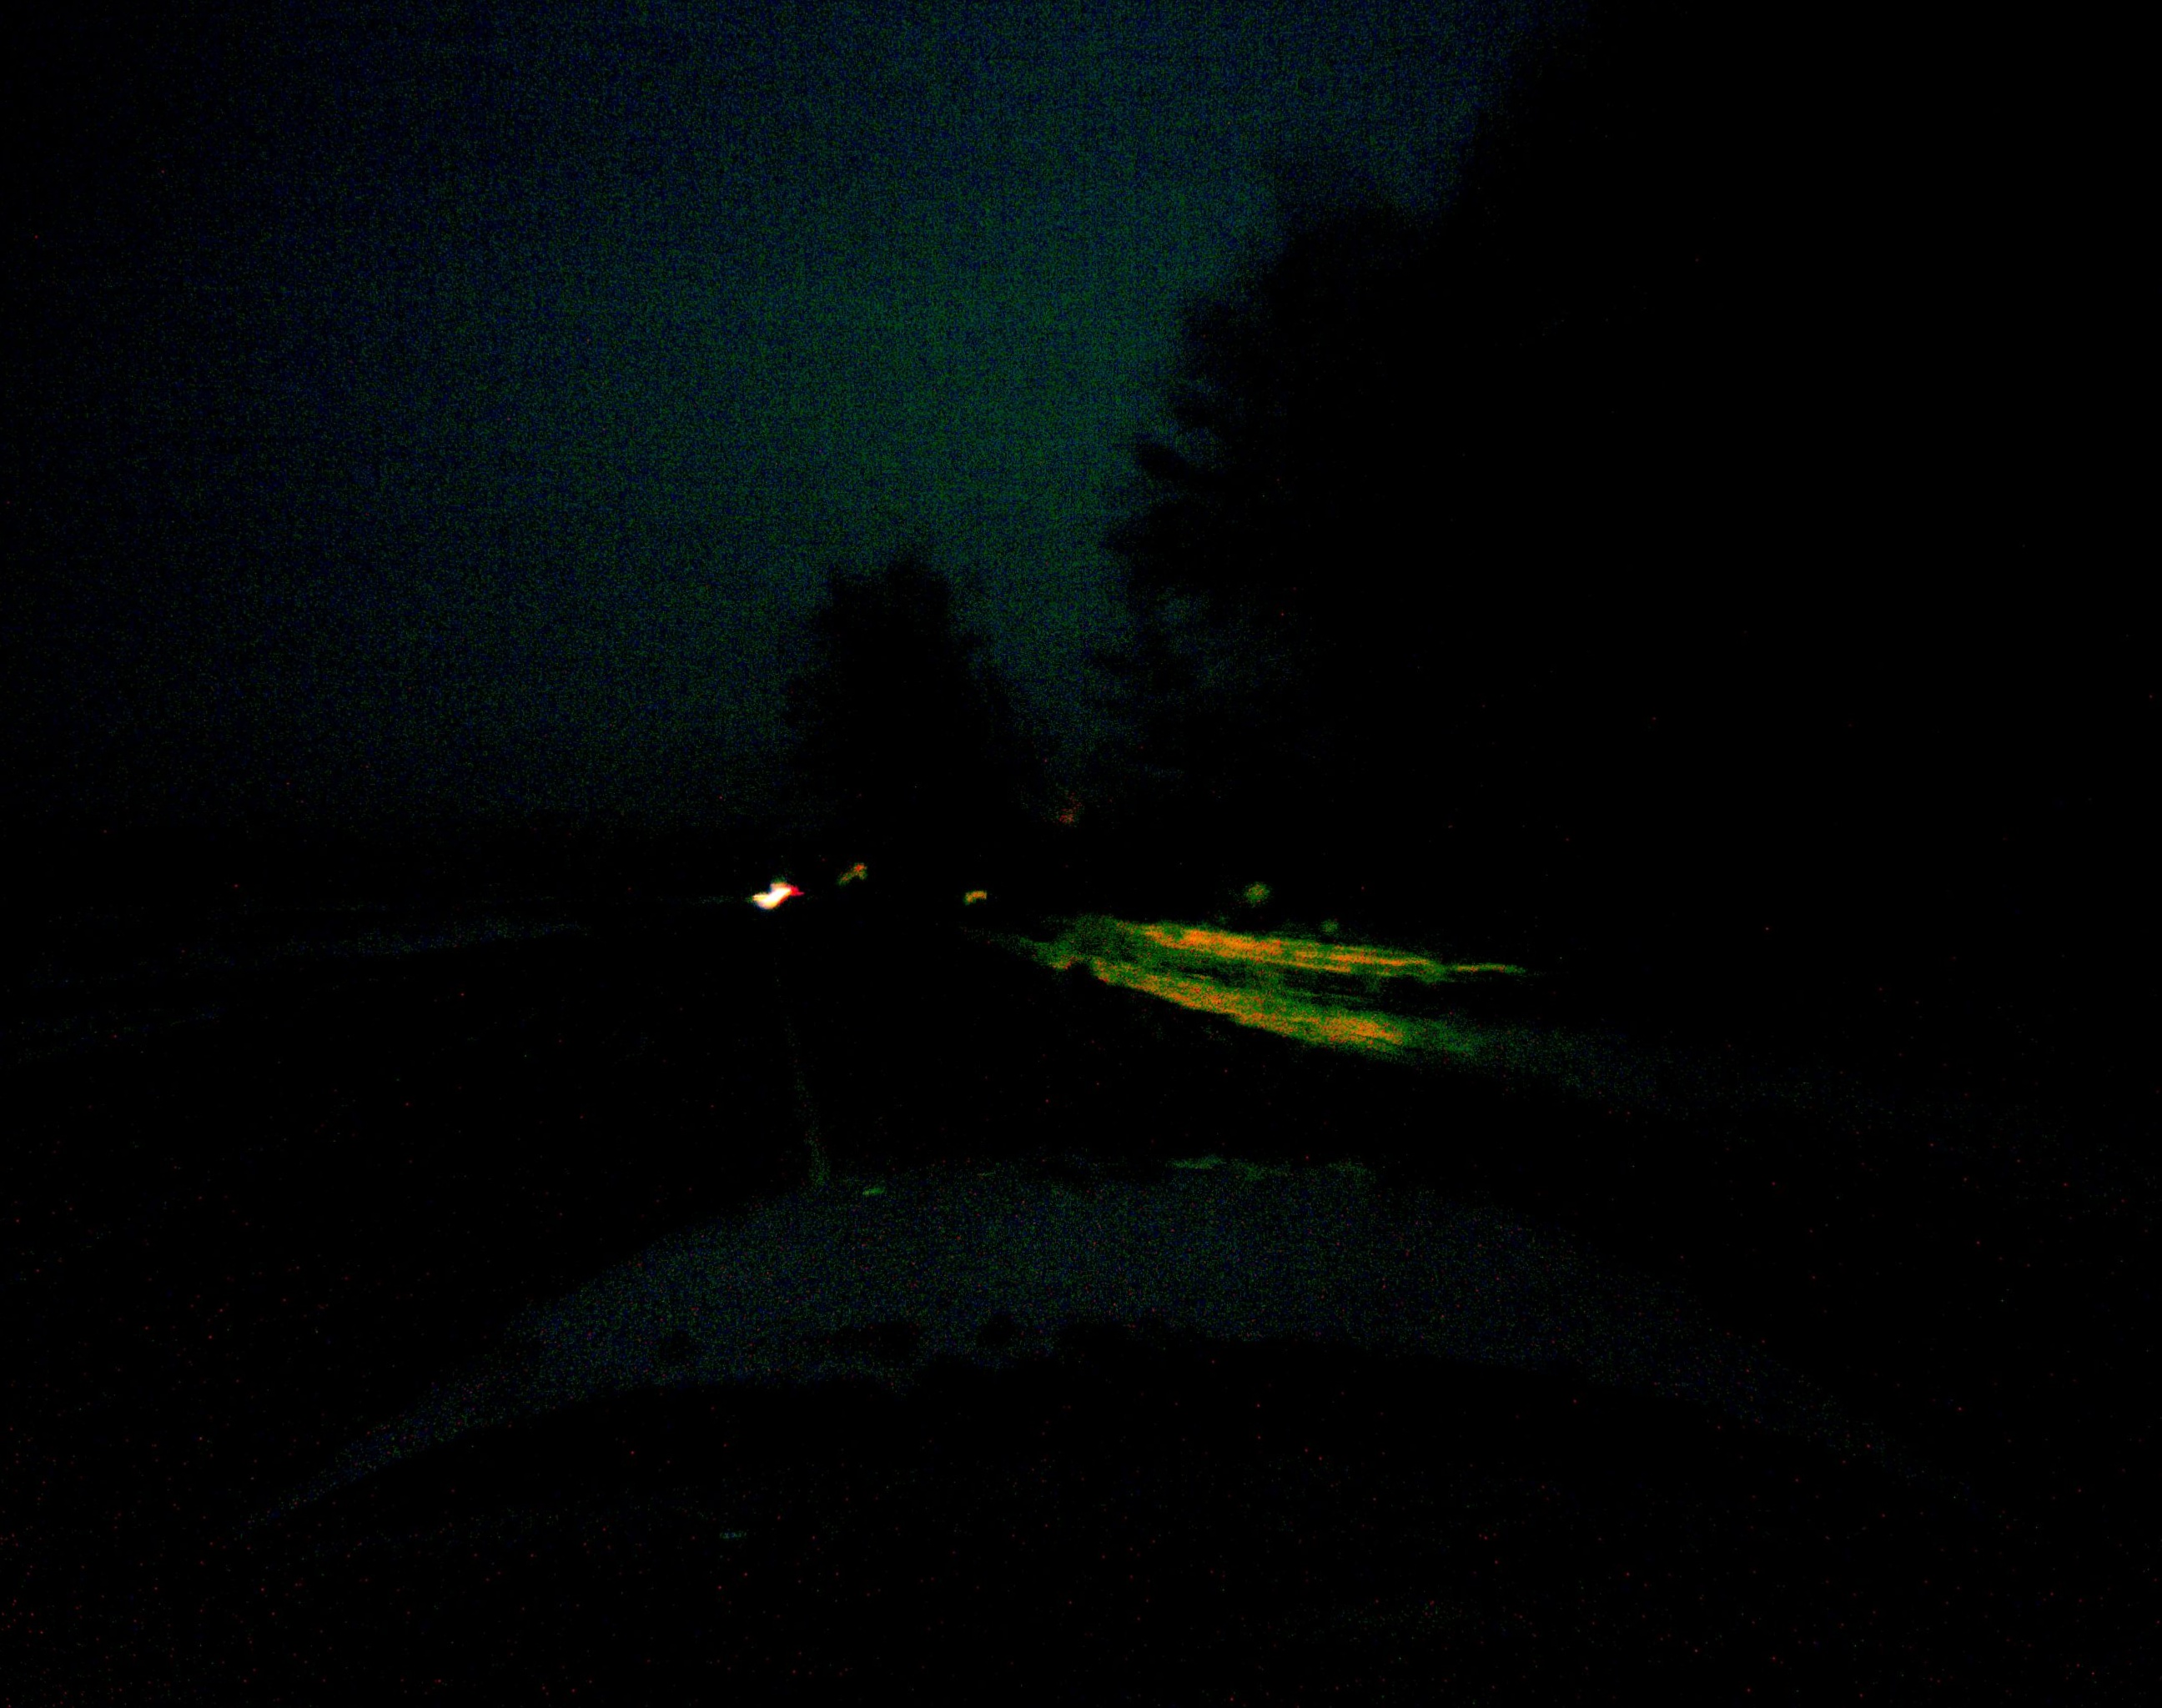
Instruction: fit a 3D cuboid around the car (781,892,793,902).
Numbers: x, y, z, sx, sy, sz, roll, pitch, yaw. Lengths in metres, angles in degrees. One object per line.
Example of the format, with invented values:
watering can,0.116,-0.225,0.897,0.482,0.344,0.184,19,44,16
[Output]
car,-47.838,7.010,132.362,1.697,1.552,3.831,-1,-1,-18
